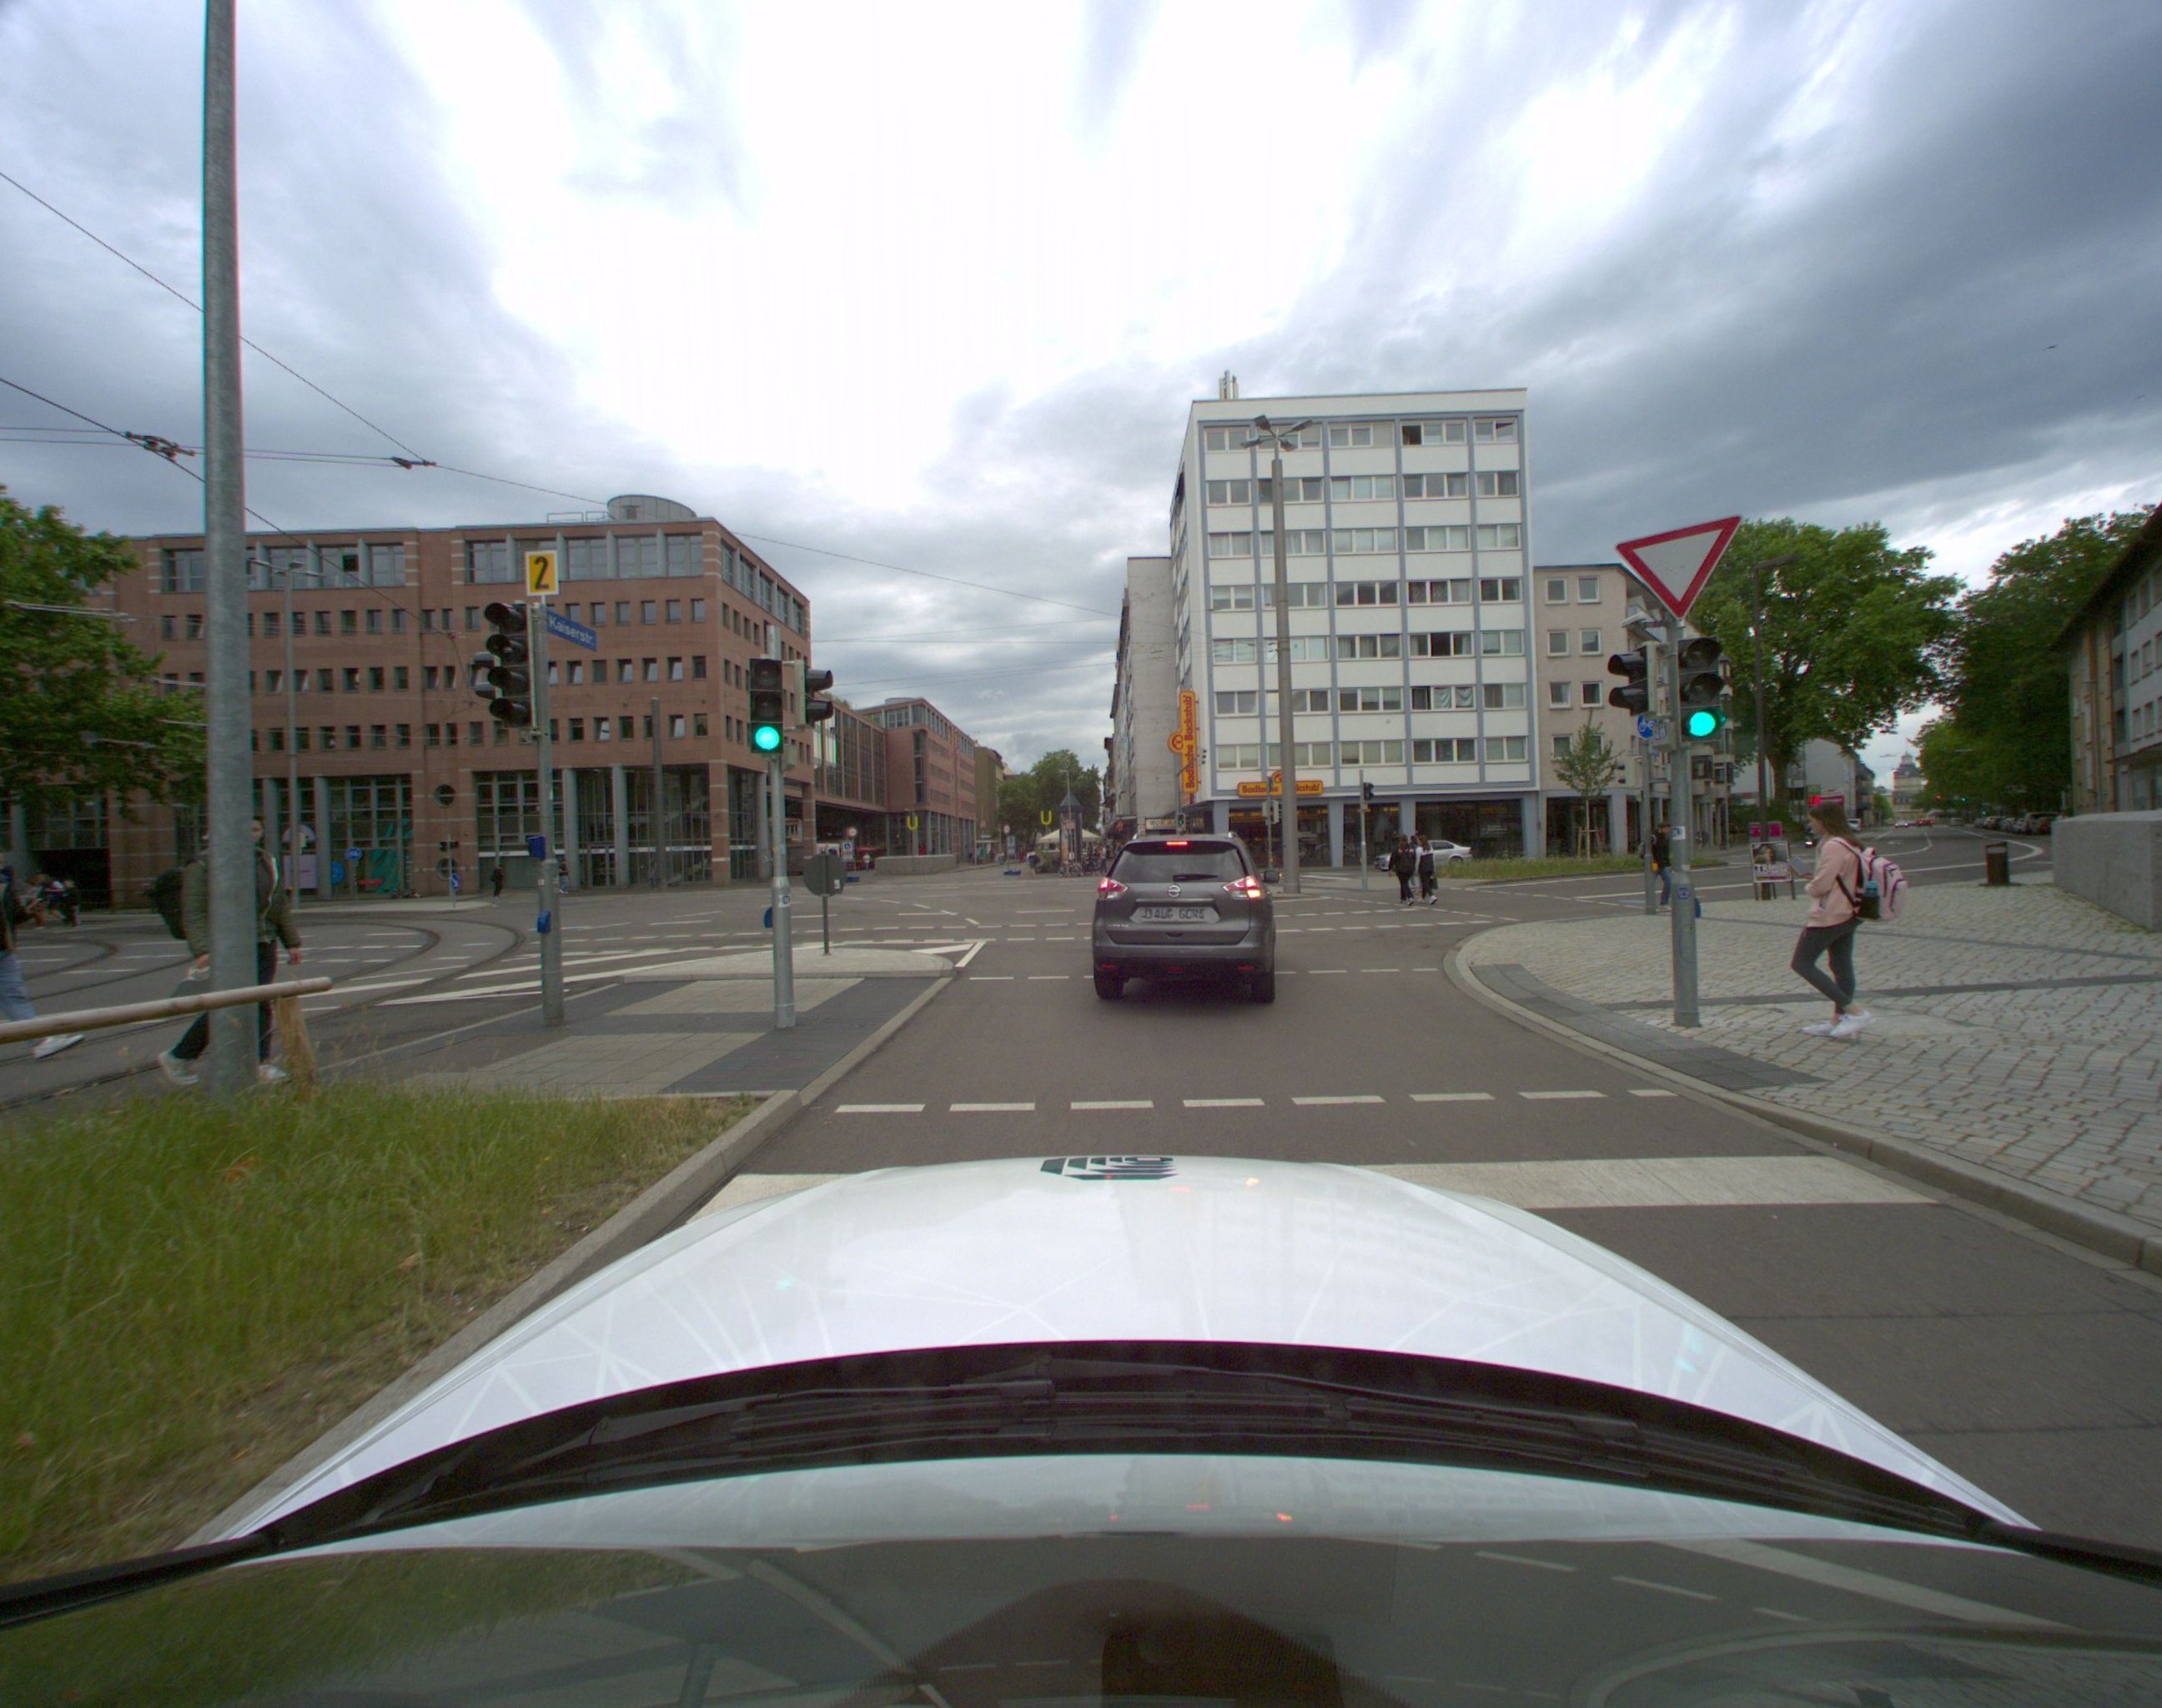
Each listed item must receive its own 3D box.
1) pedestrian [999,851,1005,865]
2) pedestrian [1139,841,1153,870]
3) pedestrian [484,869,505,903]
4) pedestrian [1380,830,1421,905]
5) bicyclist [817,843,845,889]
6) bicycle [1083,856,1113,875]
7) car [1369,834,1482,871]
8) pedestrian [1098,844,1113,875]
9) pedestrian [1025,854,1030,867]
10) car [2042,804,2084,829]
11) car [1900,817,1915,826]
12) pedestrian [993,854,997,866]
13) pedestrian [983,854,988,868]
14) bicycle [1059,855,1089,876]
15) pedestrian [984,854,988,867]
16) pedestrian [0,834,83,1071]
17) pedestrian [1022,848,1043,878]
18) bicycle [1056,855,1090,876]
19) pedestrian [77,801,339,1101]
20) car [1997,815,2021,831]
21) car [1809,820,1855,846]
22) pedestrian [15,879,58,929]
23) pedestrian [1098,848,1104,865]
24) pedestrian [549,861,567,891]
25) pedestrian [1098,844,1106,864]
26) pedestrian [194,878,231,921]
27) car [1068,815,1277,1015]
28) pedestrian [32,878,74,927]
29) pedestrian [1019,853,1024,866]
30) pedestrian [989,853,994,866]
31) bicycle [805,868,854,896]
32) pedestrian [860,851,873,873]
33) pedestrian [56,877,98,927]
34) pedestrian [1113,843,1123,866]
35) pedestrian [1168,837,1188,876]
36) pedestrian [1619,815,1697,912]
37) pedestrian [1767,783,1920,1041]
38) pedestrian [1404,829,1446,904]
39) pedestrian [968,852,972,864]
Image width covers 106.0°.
[{"bbox_3d":[-8.829,0.467,91.248,0.600,1.536,0.654,-1,0,-6],"label":"pedestrian"},{"bbox_3d":[3.910,0.093,48.772,0.705,1.705,0.737,-1,0,13],"label":"pedestrian"},{"bbox_3d":[-29.967,1.624,41.610,0.745,1.688,0.569,0,-1,-25],"label":"pedestrian"},{"bbox_3d":[7.712,0.319,19.667,0.620,1.761,0.778,-1,0,-7],"label":"pedestrian"},{"bbox_3d":[-10.089,0.479,32.880,0.840,1.812,0.868,-1,0,-34],"label":"bicyclist"},{"bbox_3d":[1.001,0.690,47.088,1.687,1.065,0.438,-1,0,7],"label":"bicycle"},{"bbox_3d":[16.064,-0.084,38.140,4.539,1.481,1.747,-3,0,-2],"label":"car"},{"bbox_3d":[1.408,0.335,46.736,0.731,1.745,0.661,-1,0,-7],"label":"pedestrian"},{"bbox_3d":[-7.182,0.837,108.447,0.600,1.714,0.654,-1,0,-6],"label":"pedestrian"},{"bbox_3d":[74.792,-2.890,62.048,4.006,1.774,1.847,-3,2,-42],"label":"car"},{"bbox_3d":[163.462,-6.391,161.093,4.006,1.774,1.847,-3,2,-42],"label":"car"},{"bbox_3d":[-12.513,0.865,118.425,0.600,1.714,0.654,-1,0,-6],"label":"pedestrian"},{"bbox_3d":[-12.632,0.927,108.162,0.600,1.714,0.654,-1,0,-6],"label":"pedestrian"},{"bbox_3d":[-0.417,0.662,47.613,1.694,1.171,0.436,-1,0,-6],"label":"bicycle"},{"bbox_3d":[-13.550,0.917,116.154,0.600,1.714,0.654,-1,0,-6],"label":"pedestrian"},{"bbox_3d":[-8.949,0.796,6.639,0.608,1.890,0.799,-2,-1,-1],"label":"pedestrian"},{"bbox_3d":[-2.808,0.520,47.175,0.918,1.705,0.738,-1,0,20],"label":"pedestrian"},{"bbox_3d":[-0.438,0.645,46.914,1.869,1.171,0.528,-1,0,-14],"label":"bicycle"},{"bbox_3d":[-5.889,0.614,5.556,0.894,1.890,0.799,0,-1,-1],"label":"pedestrian"},{"bbox_3d":[111.727,-3.773,98.083,4.006,1.774,1.847,-3,2,-42],"label":"car"},{"bbox_3d":[46.705,-1.331,50.601,4.593,1.481,1.727,-3,0,-43],"label":"car"},{"bbox_3d":[-34.237,1.628,26.699,0.572,1.612,0.628,-1,-1,-7],"label":"pedestrian"},{"bbox_3d":[2.097,0.247,84.285,0.609,1.705,0.620,-1,0,2],"label":"pedestrian"},{"bbox_3d":[-27.652,1.183,43.068,0.745,1.560,0.569,0,-1,-26],"label":"pedestrian"},{"bbox_3d":[1.832,0.030,69.640,0.640,1.705,0.559,-1,0,2],"label":"pedestrian"},{"bbox_3d":[-32.299,1.699,30.289,0.569,1.560,0.745,-1,-1,6],"label":"pedestrian"},{"bbox_3d":[1.337,0.550,9.648,1.850,1.775,4.584,-2,0,13],"label":"car"},{"bbox_3d":[-34.604,1.631,27.423,0.572,1.612,0.628,-1,-1,-7],"label":"pedestrian"},{"bbox_3d":[-7.921,0.727,108.240,0.600,1.714,0.654,-1,0,-6],"label":"pedestrian"},{"bbox_3d":[-11.847,0.731,107.389,0.600,1.714,0.654,-1,0,-6],"label":"pedestrian"},{"bbox_3d":[-10.218,1.094,32.998,0.908,1.045,3.242,-2,0,-35],"label":"bicycle"},{"bbox_3d":[-18.226,0.704,69.188,0.694,1.842,0.738,-1,0,20],"label":"pedestrian"},{"bbox_3d":[-32.862,1.565,26.665,0.572,1.574,0.628,-1,-1,-7],"label":"pedestrian"},{"bbox_3d":[2.954,0.063,64.777,0.735,1.821,0.662,-2,0,-2],"label":"pedestrian"},{"bbox_3d":[4.556,0.117,38.355,0.712,1.832,1.014,-1,0,-7],"label":"pedestrian"},{"bbox_3d":[11.724,0.178,16.602,0.798,1.862,1.156,-4,0,11],"label":"pedestrian"},{"bbox_3d":[5.508,0.392,5.911,0.522,1.761,0.600,-1,0,-7],"label":"pedestrian"},{"bbox_3d":[8.334,0.288,19.737,0.620,1.761,0.778,-1,0,-7],"label":"pedestrian"},{"bbox_3d":[-16.009,0.577,117.559,0.600,1.714,0.654,-1,0,-6],"label":"pedestrian"}]
